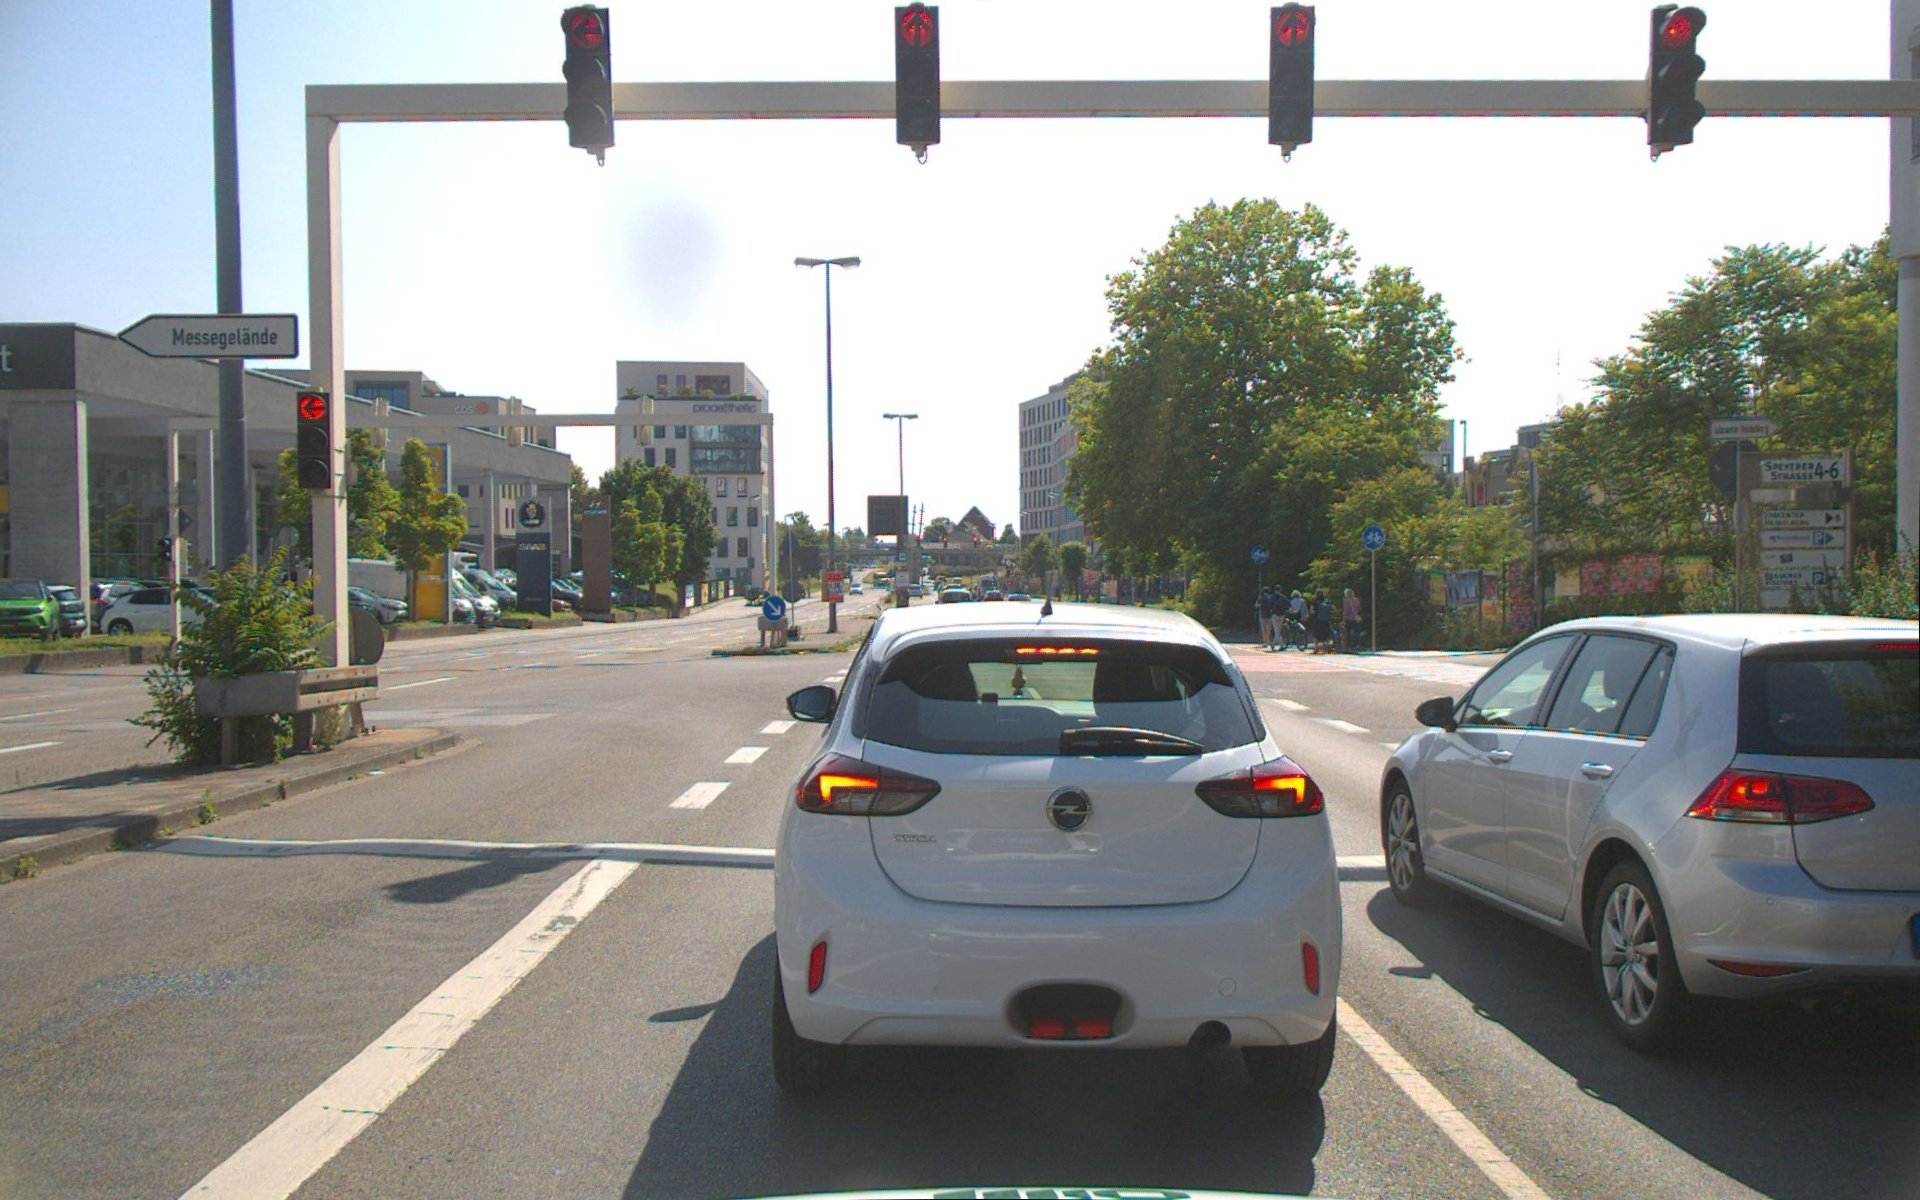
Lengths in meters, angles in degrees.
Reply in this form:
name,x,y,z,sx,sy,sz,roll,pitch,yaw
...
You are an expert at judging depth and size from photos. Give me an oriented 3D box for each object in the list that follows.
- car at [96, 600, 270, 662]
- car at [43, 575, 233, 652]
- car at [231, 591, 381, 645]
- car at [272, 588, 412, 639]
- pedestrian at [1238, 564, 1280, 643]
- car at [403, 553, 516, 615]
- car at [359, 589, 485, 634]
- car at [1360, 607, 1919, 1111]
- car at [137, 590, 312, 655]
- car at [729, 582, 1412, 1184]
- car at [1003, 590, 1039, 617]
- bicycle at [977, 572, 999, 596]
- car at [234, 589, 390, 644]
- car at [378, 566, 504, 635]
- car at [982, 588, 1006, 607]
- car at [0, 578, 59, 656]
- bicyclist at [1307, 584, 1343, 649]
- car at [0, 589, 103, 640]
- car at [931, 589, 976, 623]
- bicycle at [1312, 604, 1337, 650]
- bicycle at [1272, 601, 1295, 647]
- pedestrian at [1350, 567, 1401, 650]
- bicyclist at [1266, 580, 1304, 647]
name,x,y,z,sx,sy,sz,roll,pitch,yaw
car,-21.541,0.844,45.992,3.912,1.627,1.997,-1,0,-8
car,-20.726,0.324,41.852,3.793,1.870,1.999,-1,0,-4
car,-22.090,0.586,55.988,4.270,1.726,1.999,-1,0,-4
car,-22.055,0.476,59.154,4.270,1.726,1.999,-1,0,-4
pedestrian,8.688,0.094,48.058,1.006,2.277,1.038,0,0,-1
car,-21.978,-0.711,72.719,4.265,2.646,2.001,0,0,4
car,-21.105,0.441,64.976,4.265,1.726,2.001,-1,0,4
car,3.110,0.765,6.881,1.771,1.454,3.998,0,0,-2
car,-21.559,0.638,48.623,4.211,1.796,1.999,-1,0,-4
car,0.253,0.710,6.244,1.743,1.520,3.999,0,0,-1
car,3.375,0.191,91.931,1.769,1.410,3.999,1,0,-1
bicycle,2.593,-1.520,155.116,1.953,2.195,3.999,0,0,-1
car,-21.013,0.517,53.777,4.270,1.726,1.999,0,0,-3
car,-21.133,0.020,67.420,4.401,2.731,2.130,0,0,8
car,2.716,-0.176,132.438,1.769,1.410,3.999,1,0,-1
car,-22.557,0.419,38.958,1.887,1.764,3.250,-1,-1,-37
bicyclist,9.541,0.434,43.252,0.675,1.672,0.775,0,0,-9
car,-26.260,0.448,45.538,4.276,1.290,1.996,-2,-1,-9
car,-0.316,0.284,74.815,1.770,1.410,3.996,0,-2,-4
bicycle,9.508,0.704,43.199,0.366,1.167,1.034,1,-1,-3
bicycle,8.801,0.647,44.964,0.365,1.238,1.153,1,0,-1
pedestrian,10.436,0.204,41.593,1.006,2.049,1.038,0,0,-1
bicyclist,8.830,0.364,44.947,0.861,1.803,0.863,0,0,-1
